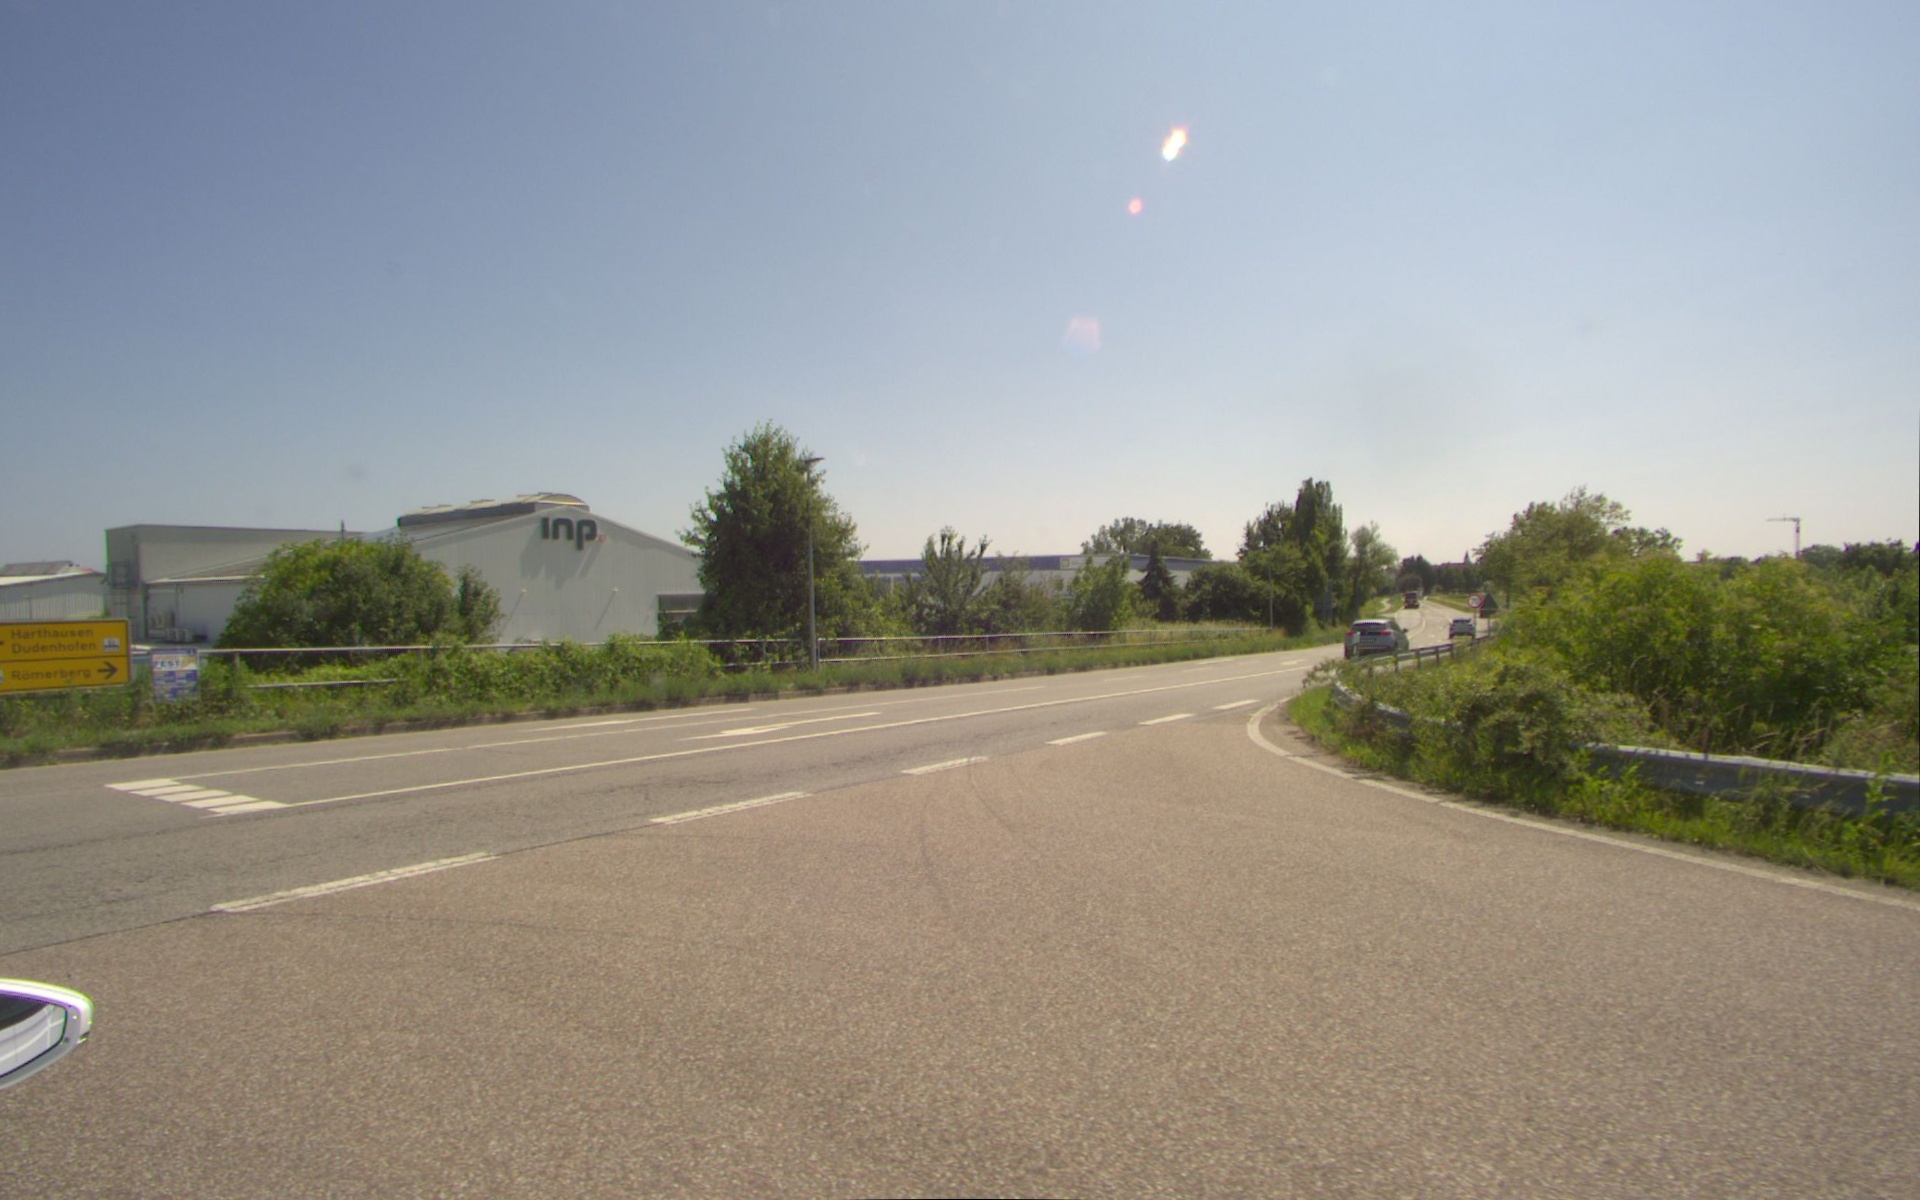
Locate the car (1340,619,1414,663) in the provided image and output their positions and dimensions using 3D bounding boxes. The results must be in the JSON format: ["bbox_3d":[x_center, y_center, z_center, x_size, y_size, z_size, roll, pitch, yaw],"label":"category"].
[{"bbox_3d":[16.030,1.551,38.348,1.774,1.603,4.466,-1,-2,34],"label":"car"}]

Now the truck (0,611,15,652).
[{"bbox_3d":[-109.123,3.434,110.593,13.150,4.367,3.701,-1,-1,32],"label":"truck"}]

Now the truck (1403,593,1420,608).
[{"bbox_3d":[85.095,0.117,188.561,2.816,2.824,6.934,-1,0,25],"label":"truck"}]

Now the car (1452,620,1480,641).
[{"bbox_3d":[38.726,2.330,76.644,1.506,1.593,3.649,-1,-1,33],"label":"car"}]
